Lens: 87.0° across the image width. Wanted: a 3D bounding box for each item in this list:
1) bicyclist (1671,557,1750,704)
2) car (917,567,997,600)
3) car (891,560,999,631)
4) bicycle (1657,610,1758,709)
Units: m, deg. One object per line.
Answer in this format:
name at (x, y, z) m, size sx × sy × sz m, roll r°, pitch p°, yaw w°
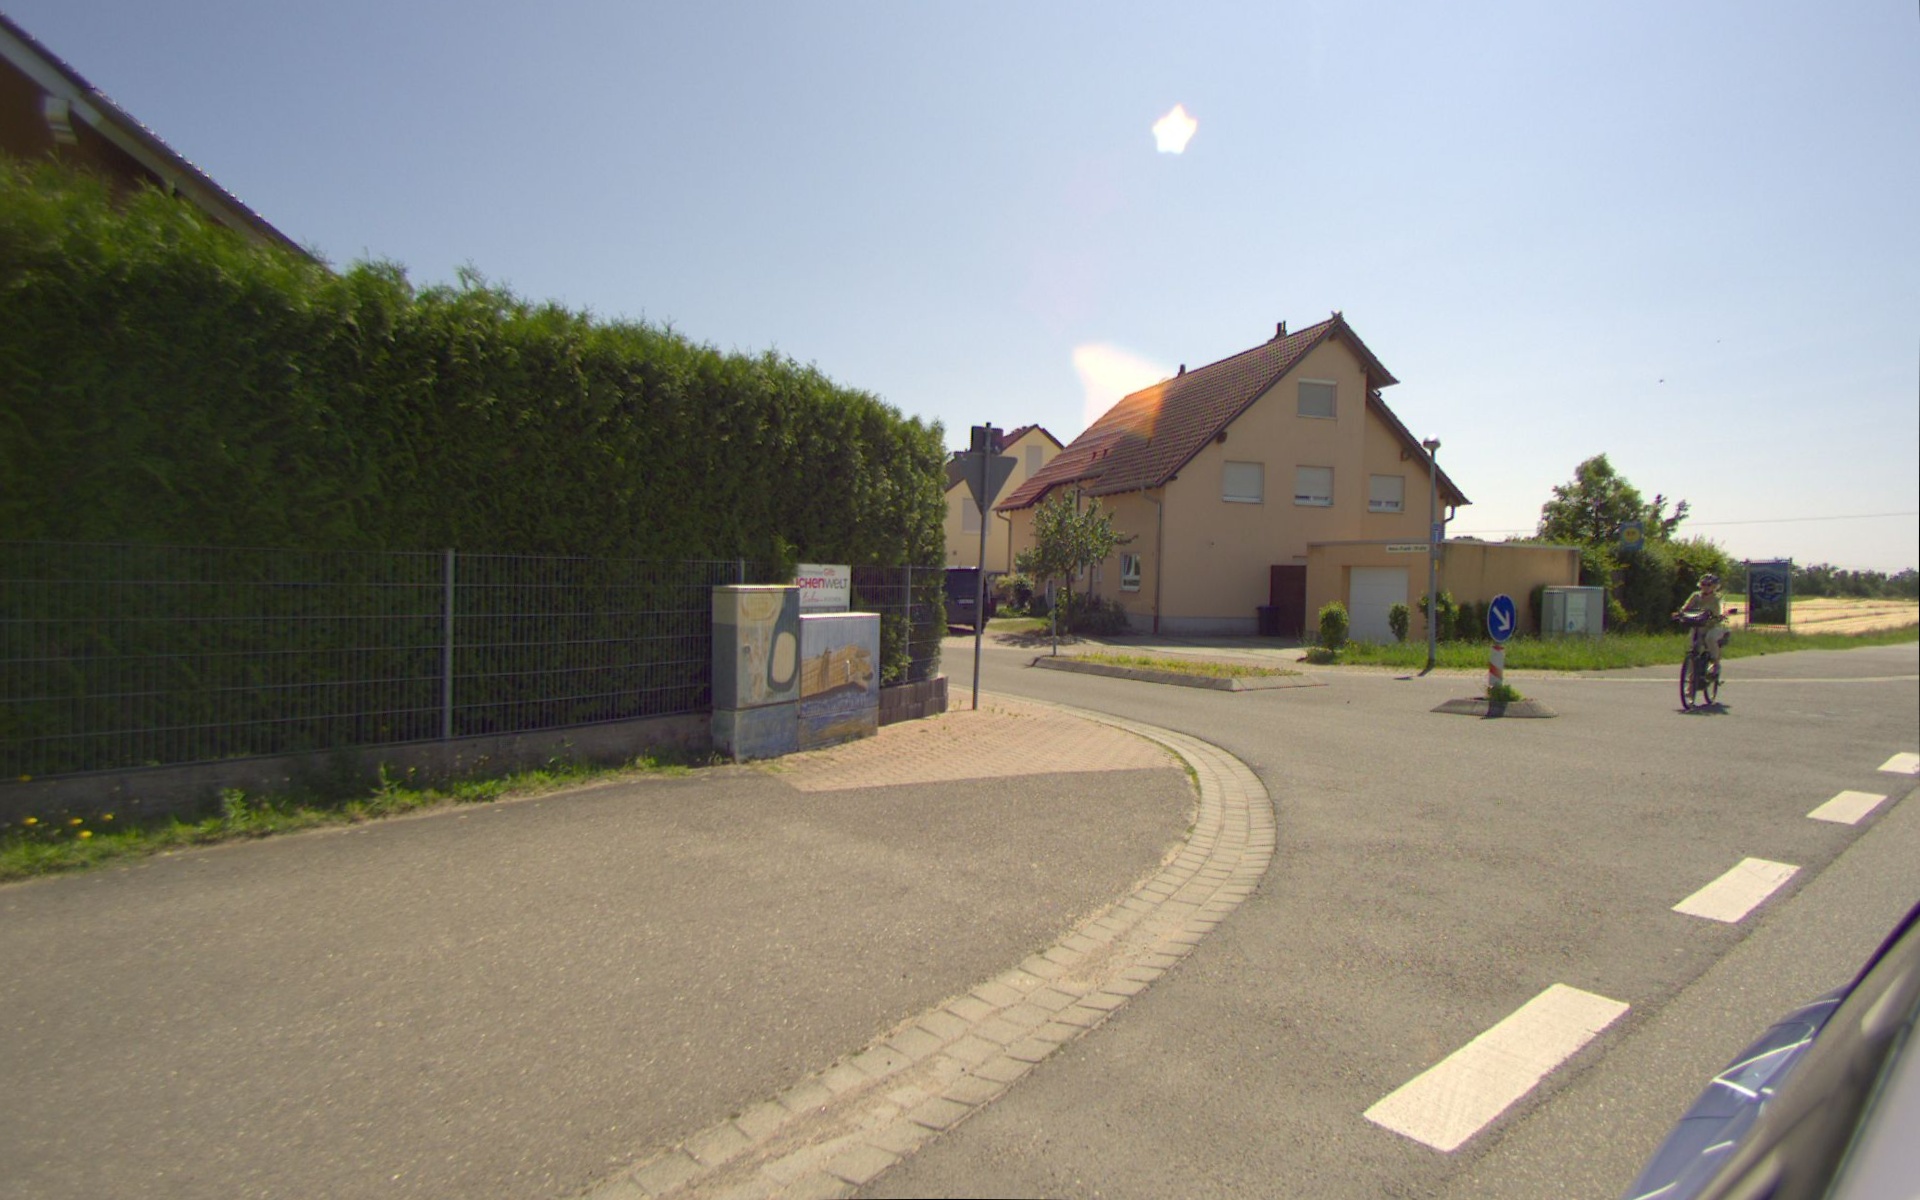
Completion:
bicyclist at (10.215, 0.386, 13.767) m, size 0.846 × 1.913 × 0.646 m, roll -1°, pitch 2°, yaw -41°
car at (-0.151, -0.794, 48.790) m, size 3.484 × 1.496 × 1.758 m, roll 1°, pitch 2°, yaw -16°
car at (-0.570, -0.226, 31.968) m, size 1.958 × 2.038 × 4.504 m, roll -1°, pitch 3°, yaw -22°
bicycle at (10.179, 0.758, 13.742) m, size 2.234 × 1.173 × 0.611 m, roll -1°, pitch 2°, yaw -41°
